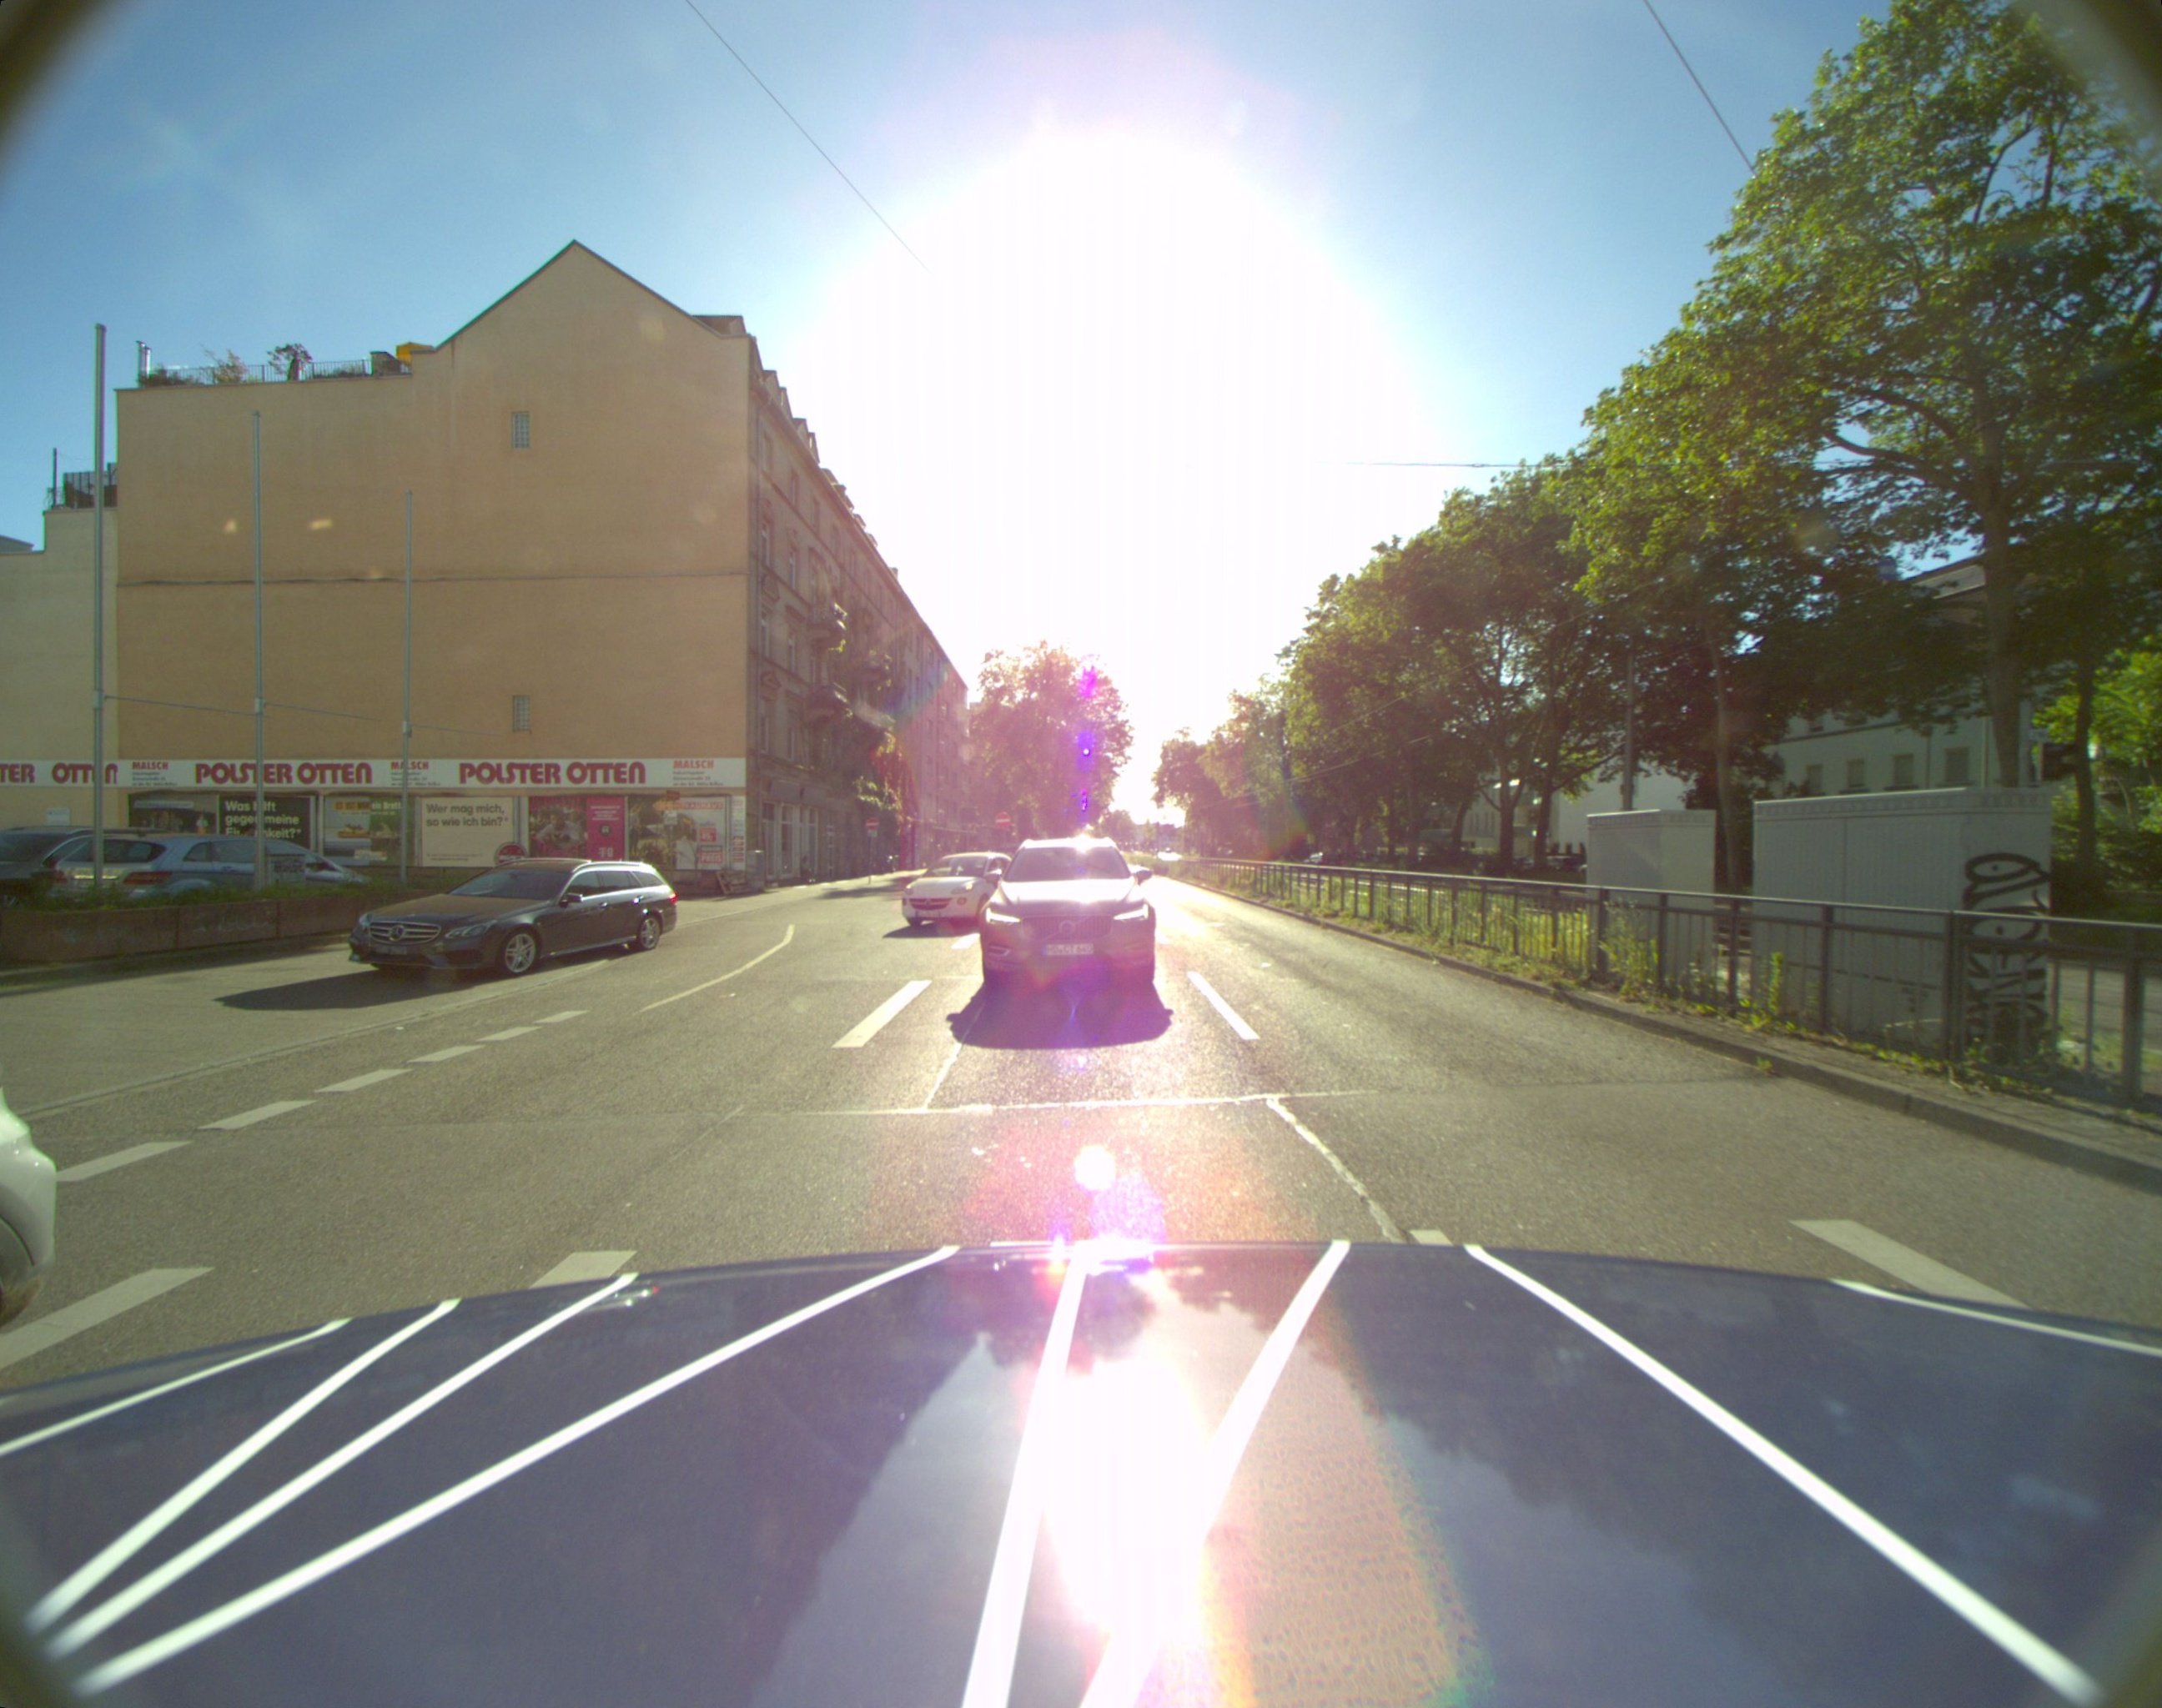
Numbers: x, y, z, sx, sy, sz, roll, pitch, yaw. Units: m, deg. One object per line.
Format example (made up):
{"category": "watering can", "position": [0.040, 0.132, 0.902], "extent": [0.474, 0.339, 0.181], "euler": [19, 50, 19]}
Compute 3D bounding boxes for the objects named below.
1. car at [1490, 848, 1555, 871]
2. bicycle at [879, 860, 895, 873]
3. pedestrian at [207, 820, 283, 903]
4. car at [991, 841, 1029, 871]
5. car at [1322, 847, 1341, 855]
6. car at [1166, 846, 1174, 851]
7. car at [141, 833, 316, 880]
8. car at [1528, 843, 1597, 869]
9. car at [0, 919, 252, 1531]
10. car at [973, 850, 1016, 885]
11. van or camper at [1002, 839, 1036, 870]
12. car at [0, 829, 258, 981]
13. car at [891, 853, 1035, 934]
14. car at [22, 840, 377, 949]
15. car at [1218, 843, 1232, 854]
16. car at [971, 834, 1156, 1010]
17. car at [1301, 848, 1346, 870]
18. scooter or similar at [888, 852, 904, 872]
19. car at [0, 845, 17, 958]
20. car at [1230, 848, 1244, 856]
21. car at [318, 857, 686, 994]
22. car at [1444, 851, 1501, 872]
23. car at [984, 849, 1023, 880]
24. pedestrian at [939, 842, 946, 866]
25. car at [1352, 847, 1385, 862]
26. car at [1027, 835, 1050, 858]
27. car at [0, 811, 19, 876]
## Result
{"category": "car", "position": [28.583, 0.324, 49.392], "extent": [1.644, 1.316, 4.460], "euler": [2, 1, 1]}
{"category": "bicycle", "position": [-11.124, 0.737, 43.595], "extent": [0.469, 0.702, 1.512], "euler": [0, 1, 0]}
{"category": "pedestrian", "position": [-20.674, 0.181, 18.822], "extent": [0.819, 2.002, 0.923], "euler": [0, 1, 1]}
{"category": "car", "position": [-4.229, 0.095, 46.046], "extent": [1.869, 1.754, 4.000], "euler": [0, 1, 1]}
{"category": "car", "position": [28.046, -0.346, 85.118], "extent": [1.109, 0.871, 3.060], "euler": [1, 1, 0]}
{"category": "car", "position": [28.193, -1.750, 240.345], "extent": [1.862, 1.638, 4.459], "euler": [0, 1, -1]}
{"category": "car", "position": [-28.641, 0.016, 25.717], "extent": [1.680, 1.455, 3.644], "euler": [0, 2, 2]}
{"category": "car", "position": [28.342, 0.073, 44.859], "extent": [1.779, 1.456, 3.697], "euler": [0, 1, 1]}
{"category": "car", "position": [-3.579, 1.017, 0.331], "extent": [1.702, 1.519, 4.379], "euler": [-1, 1, -2]}
{"category": "car", "position": [-4.071, 0.602, 36.376], "extent": [1.645, 1.509, 3.999], "euler": [-2, 1, -1]}
{"category": "van or camper", "position": [-4.153, -0.001, 51.570], "extent": [1.889, 2.002, 5.093], "euler": [0, 1, 0]}
{"category": "car", "position": [-12.971, 0.547, 9.309], "extent": [1.654, 1.635, 3.901], "euler": [3, 1, -3]}
{"category": "car", "position": [-2.416, 0.769, 16.553], "extent": [1.605, 1.446, 3.785], "euler": [-1, 2, 16]}
{"category": "car", "position": [-15.170, 0.583, 13.494], "extent": [1.749, 1.635, 3.998], "euler": [0, 1, -3]}
{"category": "car", "position": [27.227, -0.983, 143.735], "extent": [1.998, 2.002, 4.001], "euler": [-1, 0, 5]}
{"category": "car", "position": [-0.129, 0.668, 10.060], "extent": [1.876, 1.788, 4.632], "euler": [0, 1, 1]}
{"category": "car", "position": [17.453, 0.349, 54.815], "extent": [1.688, 1.490, 4.341], "euler": [0, 1, -3]}
{"category": "scooter or similar", "position": [-11.102, 0.473, 45.581], "extent": [0.638, 1.167, 1.730], "euler": [0, 1, -24]}
{"category": "car", "position": [-14.727, 0.630, 8.272], "extent": [1.562, 1.477, 3.393], "euler": [0, 1, -3]}
{"category": "car", "position": [27.368, -0.358, 133.531], "extent": [1.771, 1.477, 3.688], "euler": [0, 1, 1]}
{"category": "car", "position": [-8.185, 0.864, 11.479], "extent": [1.837, 1.478, 4.733], "euler": [3, 1, 1]}
{"category": "car", "position": [28.875, 0.533, 56.172], "extent": [1.998, 1.445, 4.318], "euler": [0, 1, 1]}
{"category": "car", "position": [-4.115, 0.523, 40.825], "extent": [1.743, 1.509, 3.999], "euler": [-2, 1, -1]}
{"category": "pedestrian", "position": [-10.454, -0.006, 57.272], "extent": [0.470, 1.822, 0.516], "euler": [0, 1, 0]}
{"category": "car", "position": [28.403, 0.024, 75.164], "extent": [1.801, 1.464, 4.000], "euler": [0, 1, 1]}
{"category": "car", "position": [-4.670, -0.827, 84.715], "extent": [2.079, 2.420, 5.855], "euler": [0, 1, 1]}
{"category": "car", "position": [-40.727, -0.383, 25.969], "extent": [1.708, 2.398, 4.886], "euler": [1, 1, 9]}
